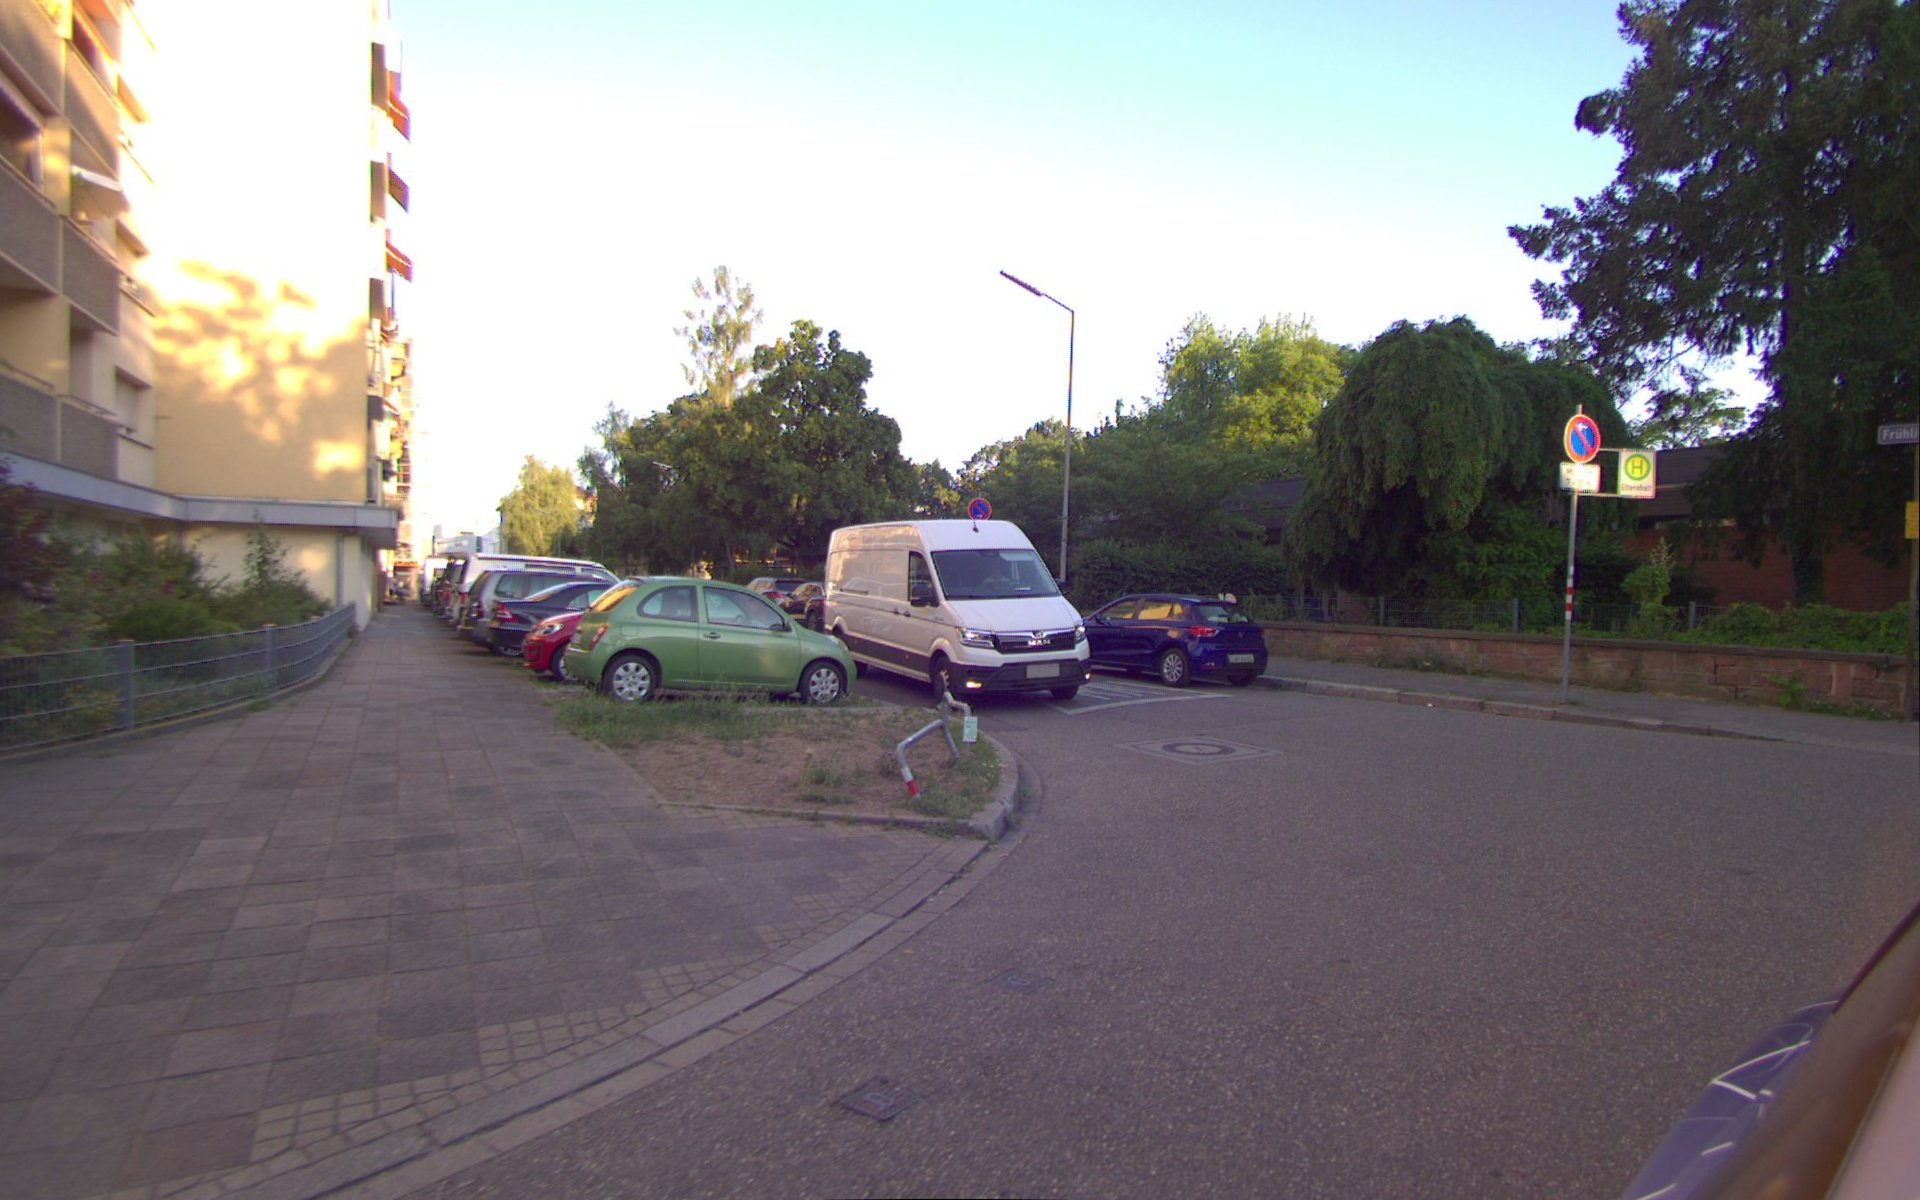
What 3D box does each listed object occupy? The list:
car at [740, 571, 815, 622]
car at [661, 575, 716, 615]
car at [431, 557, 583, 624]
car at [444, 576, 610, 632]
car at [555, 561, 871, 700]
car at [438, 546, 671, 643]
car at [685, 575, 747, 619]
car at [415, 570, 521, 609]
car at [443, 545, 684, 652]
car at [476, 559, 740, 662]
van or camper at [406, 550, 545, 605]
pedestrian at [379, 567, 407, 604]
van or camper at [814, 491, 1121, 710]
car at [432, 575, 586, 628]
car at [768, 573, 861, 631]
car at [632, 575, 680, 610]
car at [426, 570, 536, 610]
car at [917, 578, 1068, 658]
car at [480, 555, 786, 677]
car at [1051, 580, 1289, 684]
[{"bbox_3d":[-6.156,-0.134,33.944,1.504,1.605,2.957,1,1,-31],"label":"car"},{"bbox_3d":[-11.566,-0.232,43.027,1.504,1.605,2.957,1,1,-31],"label":"car"},{"bbox_3d":[-14.499,-0.277,32.419,4.275,2.023,1.746,1,1,-29],"label":"car"},{"bbox_3d":[-12.052,0.112,28.199,4.060,1.479,1.746,1,1,-29],"label":"car"},{"bbox_3d":[-3.092,0.412,12.796,3.499,1.532,1.628,3,-1,-31],"label":"car"},{"bbox_3d":[-9.689,-0.107,24.255,4.974,2.112,2.003,1,1,-28],"label":"car"},{"bbox_3d":[-9.487,-0.129,39.181,1.504,1.605,2.957,1,1,-31],"label":"car"},{"bbox_3d":[-22.595,-0.494,46.546,4.275,1.680,1.746,1,1,-29],"label":"car"},{"bbox_3d":[-7.535,-0.025,19.319,3.975,1.836,1.830,1,1,-33],"label":"car"},{"bbox_3d":[-5.968,0.165,17.290,3.922,1.571,1.830,1,1,-33],"label":"car"},{"bbox_3d":[-23.802,-1.078,49.796,5.980,2.521,2.199,1,1,-29],"label":"van or camper"},{"bbox_3d":[-29.101,-0.772,51.930,1.144,1.797,0.873,-3,5,-36],"label":"pedestrian"},{"bbox_3d":[-0.295,-0.058,15.707,2.052,2.622,6.884,1,1,-24],"label":"van or camper"},{"bbox_3d":[-13.522,0.047,30.362,4.060,1.479,1.746,1,1,-29],"label":"car"},{"bbox_3d":[-4.374,0.030,30.118,1.504,1.605,3.406,1,1,-31],"label":"car"},{"bbox_3d":[-14.362,-0.364,47.734,1.504,1.605,2.957,1,1,-31],"label":"car"},{"bbox_3d":[-21.252,-0.441,44.950,4.275,1.680,1.746,1,1,-29],"label":"car"},{"bbox_3d":[0.607,0.321,21.357,1.504,1.503,3.514,1,1,-31],"label":"car"},{"bbox_3d":[-4.766,0.206,14.890,3.922,1.571,1.830,1,1,-33],"label":"car"},{"bbox_3d":[3.388,0.449,16.943,1.690,1.503,3.792,1,1,-34],"label":"car"}]
